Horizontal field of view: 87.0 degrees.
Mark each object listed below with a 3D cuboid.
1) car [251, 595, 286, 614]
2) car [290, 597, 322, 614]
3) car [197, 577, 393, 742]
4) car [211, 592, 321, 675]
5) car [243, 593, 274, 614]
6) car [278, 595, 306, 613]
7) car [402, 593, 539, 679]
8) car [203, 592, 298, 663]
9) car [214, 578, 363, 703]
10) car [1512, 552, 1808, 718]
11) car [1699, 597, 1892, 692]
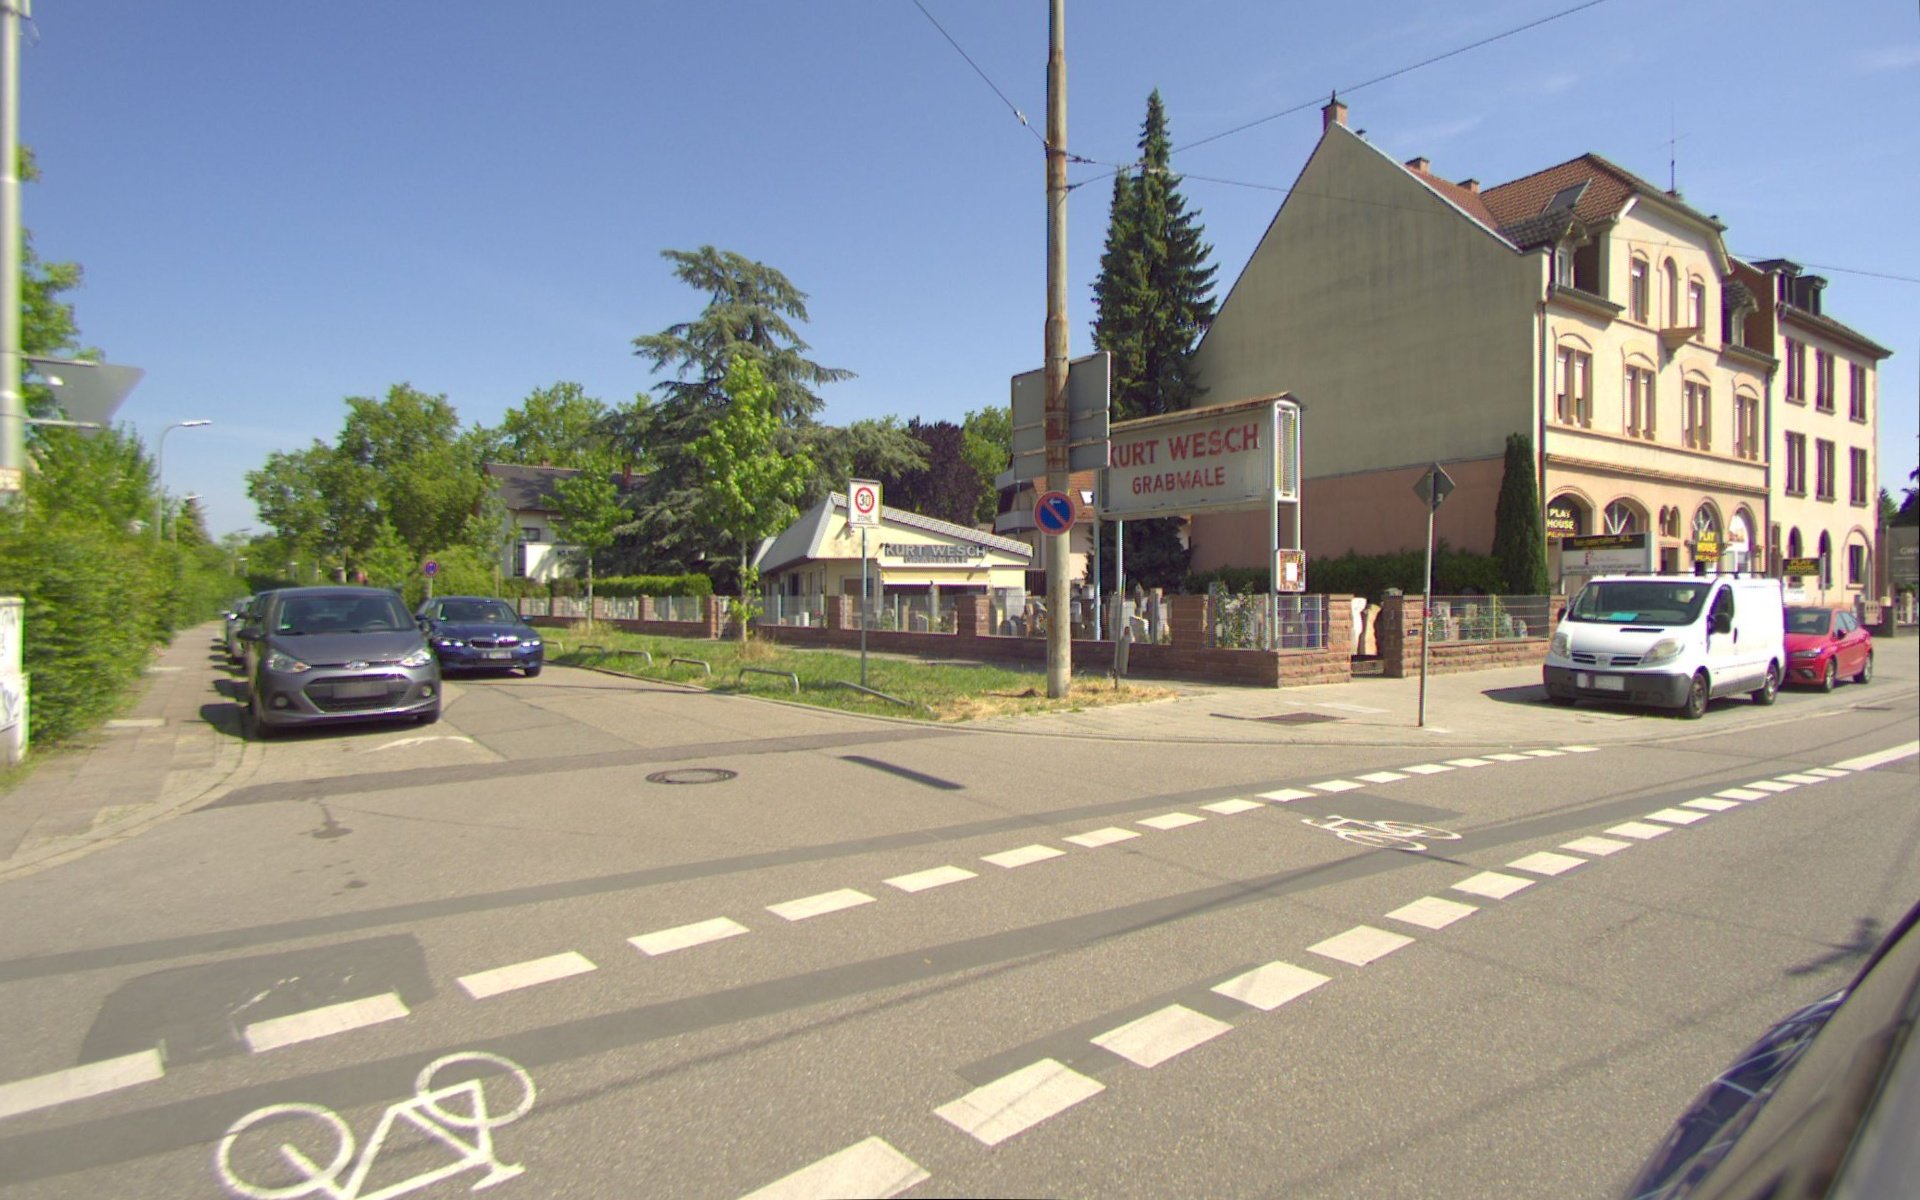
[{"bbox_3d":[-52.449,0.317,76.842,1.624,1.444,4.006,0,0,-26],"label":"car"},{"bbox_3d":[-56.038,0.474,86.782,1.623,1.444,4.007,0,0,-23],"label":"car"},{"bbox_3d":[-7.329,0.537,11.088,1.562,1.491,3.604,0,0,-36],"label":"car"},{"bbox_3d":[-13.214,0.579,19.252,1.627,1.429,2.914,0,0,-36],"label":"car"},{"bbox_3d":[-50.155,0.228,72.401,1.625,1.444,4.003,0,0,-31],"label":"car"},{"bbox_3d":[-54.152,0.333,82.089,1.624,1.444,4.004,0,0,-29],"label":"car"},{"bbox_3d":[-9.037,0.580,18.538,1.640,1.405,3.756,0,0,-36],"label":"car"},{"bbox_3d":[-16.054,0.560,22.897,1.627,1.444,3.999,0,0,-36],"label":"car"},{"bbox_3d":[-9.878,0.508,14.811,1.627,1.567,3.999,0,0,-36],"label":"car"},{"bbox_3d":[10.448,0.417,14.971,5.093,2.080,1.983,0,1,-36],"label":"car"},{"bbox_3d":[15.304,0.720,18.472,4.232,1.461,1.727,-1,2,-37],"label":"car"}]
